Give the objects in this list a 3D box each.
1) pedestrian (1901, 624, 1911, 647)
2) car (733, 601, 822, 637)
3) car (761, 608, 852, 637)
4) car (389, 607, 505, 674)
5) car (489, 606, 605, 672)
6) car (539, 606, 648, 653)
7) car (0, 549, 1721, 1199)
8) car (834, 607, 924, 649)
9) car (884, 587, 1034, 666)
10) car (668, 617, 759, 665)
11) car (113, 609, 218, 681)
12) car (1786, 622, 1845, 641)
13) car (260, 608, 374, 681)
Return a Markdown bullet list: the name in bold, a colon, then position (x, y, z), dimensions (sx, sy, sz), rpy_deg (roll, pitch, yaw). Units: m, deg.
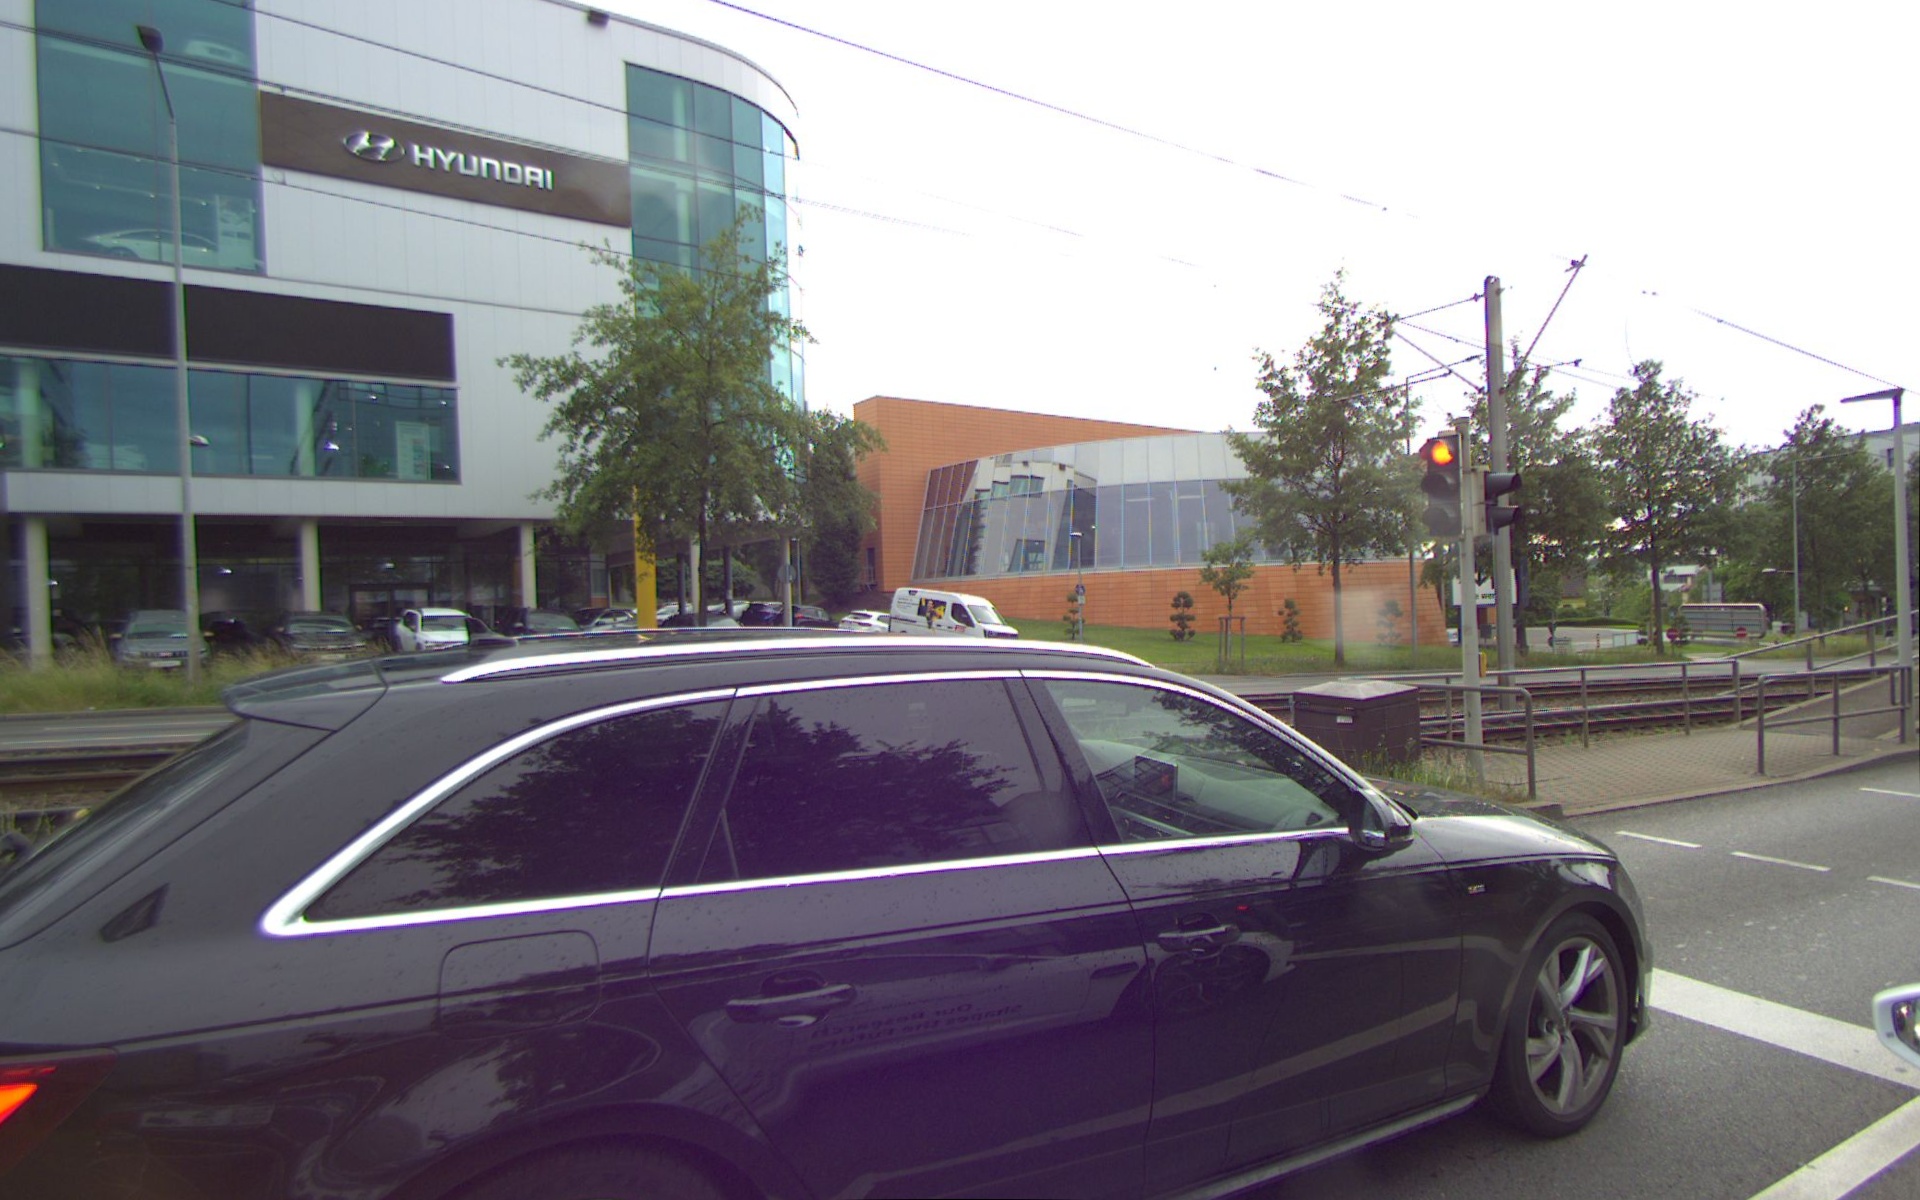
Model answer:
- **pedestrian**: position (79.318, 2.973, 84.232), dimensions (0.484, 1.946, 0.473), rpy_deg (1, 0, -30)
- **car**: position (-8.868, 0.910, 49.081), dimensions (1.969, 1.653, 3.982), rpy_deg (0, -1, 39)
- **car**: position (-7.218, 1.064, 47.516), dimensions (1.969, 1.297, 3.982), rpy_deg (0, -1, 39)
- **car**: position (-14.499, 1.074, 28.248), dimensions (1.984, 1.571, 4.324), rpy_deg (1, 1, -40)
- **car**: position (-12.347, 1.098, 29.895), dimensions (1.984, 1.637, 4.324), rpy_deg (1, 1, -40)
- **car**: position (-12.832, 1.012, 35.342), dimensions (1.691, 1.572, 3.587), rpy_deg (0, -1, 20)
- **car**: position (0.103, 0.720, 2.877), dimensions (4.461, 1.486, 1.772), rpy_deg (1, -1, -31)
- **car**: position (-3.340, 1.162, 42.162), dimensions (1.703, 1.688, 3.734), rpy_deg (1, -1, 38)
- **car**: position (-0.120, 0.914, 38.112), dimensions (5.544, 2.616, 2.392), rpy_deg (3, 1, 43)
- **car**: position (-7.848, 1.244, 31.819), dimensions (1.565, 1.409, 3.619), rpy_deg (0, -1, -36)
- **car**: position (-19.866, 1.059, 25.067), dimensions (1.917, 1.479, 3.974), rpy_deg (1, 1, -40)
- **car**: position (66.640, 2.466, 78.298), dimensions (1.408, 1.405, 3.371), rpy_deg (0, 0, -13)
- **car**: position (-16.957, 1.105, 26.393), dimensions (1.984, 1.571, 4.324), rpy_deg (1, 1, -40)
